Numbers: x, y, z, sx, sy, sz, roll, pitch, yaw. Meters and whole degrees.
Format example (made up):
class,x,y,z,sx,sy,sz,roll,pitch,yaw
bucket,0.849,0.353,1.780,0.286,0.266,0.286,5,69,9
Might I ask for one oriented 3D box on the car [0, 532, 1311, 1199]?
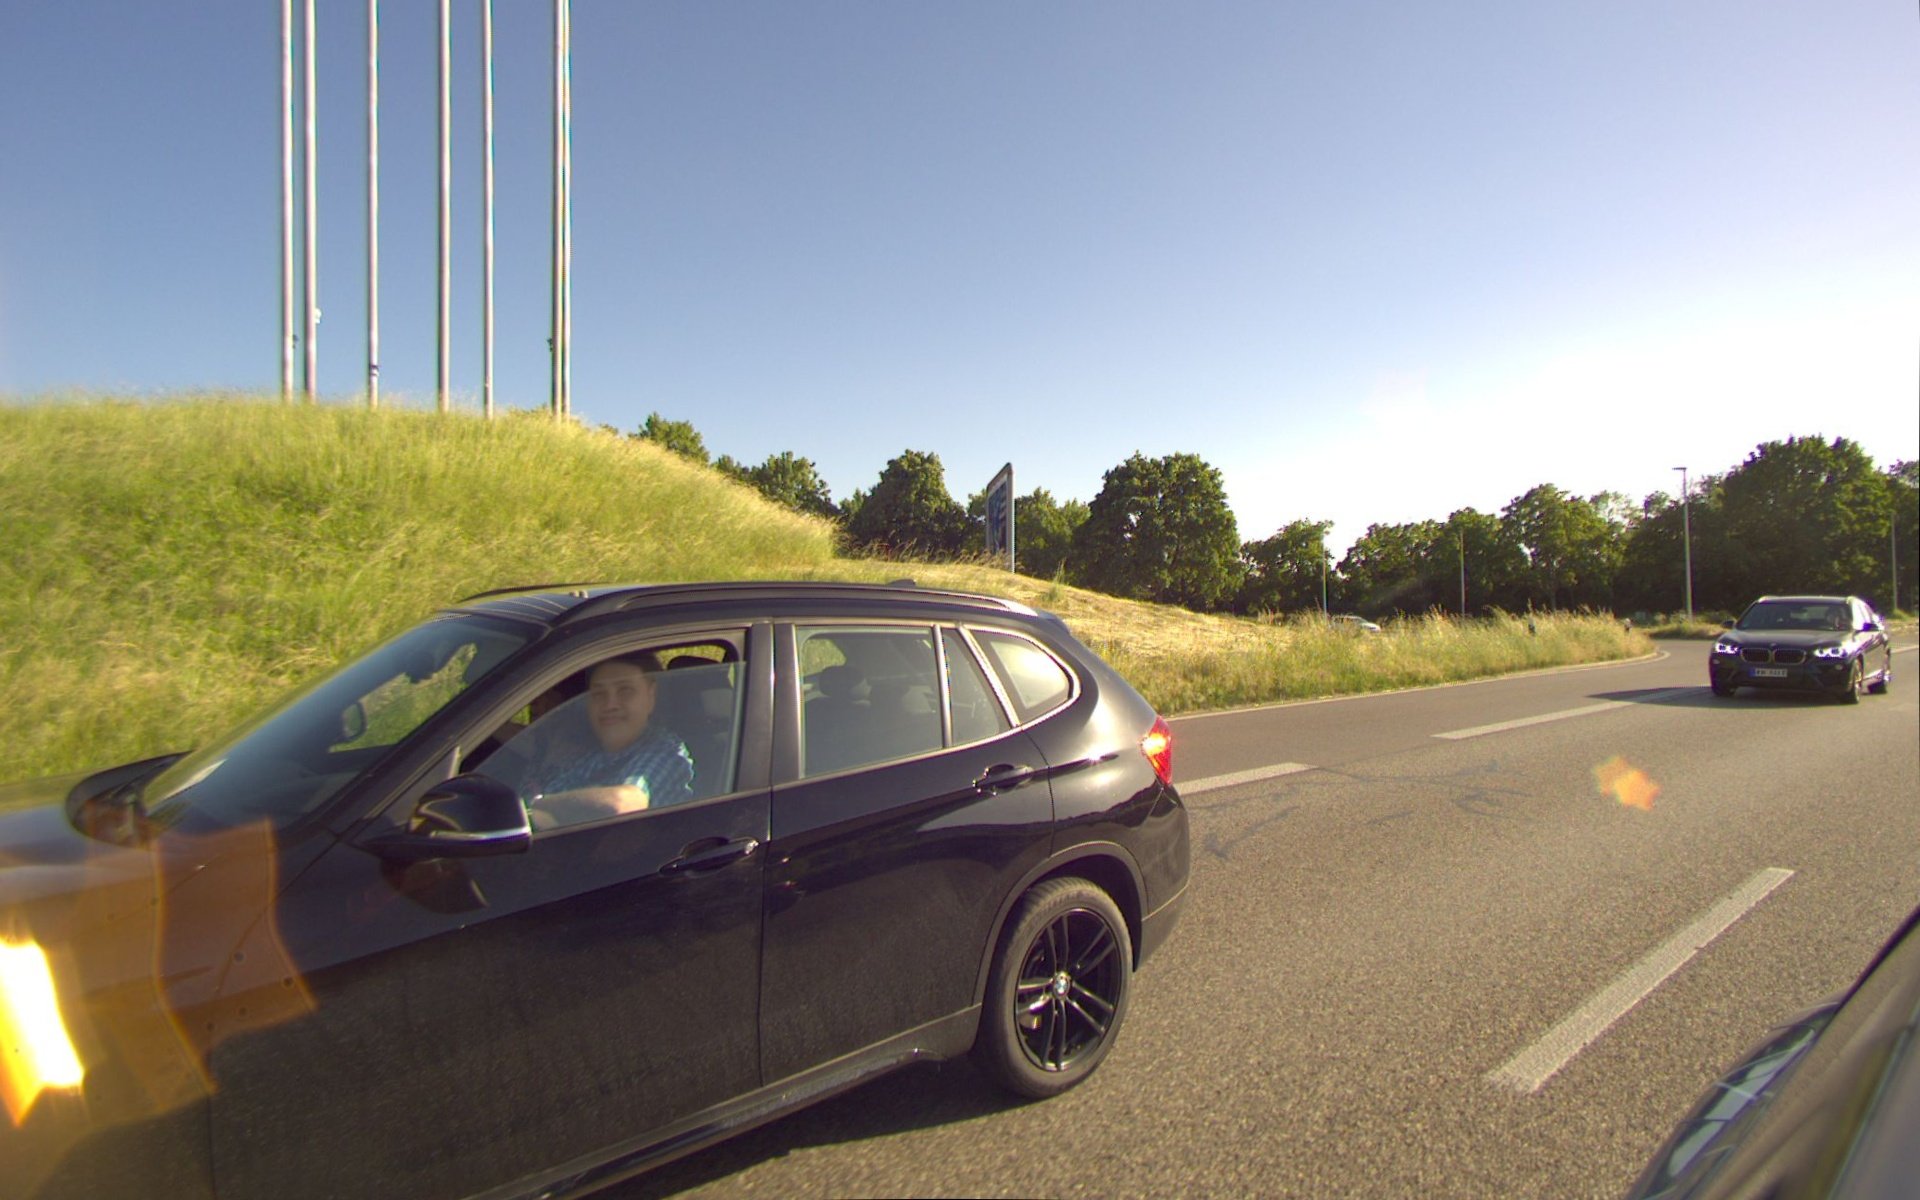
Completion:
class,x,y,z,sx,sy,sz,roll,pitch,yaw
car,-0.913,0.648,3.041,4.498,1.525,1.702,0,1,-41

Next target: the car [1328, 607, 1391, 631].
class,x,y,z,sx,sy,sz,roll,pitch,yaw
car,28.949,1.354,73.424,1.832,1.713,4.003,0,0,-31

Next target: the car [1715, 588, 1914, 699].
class,x,y,z,sx,sy,sz,roll,pitch,yaw
car,14.126,0.608,16.648,4.440,1.593,1.759,-1,0,-40
